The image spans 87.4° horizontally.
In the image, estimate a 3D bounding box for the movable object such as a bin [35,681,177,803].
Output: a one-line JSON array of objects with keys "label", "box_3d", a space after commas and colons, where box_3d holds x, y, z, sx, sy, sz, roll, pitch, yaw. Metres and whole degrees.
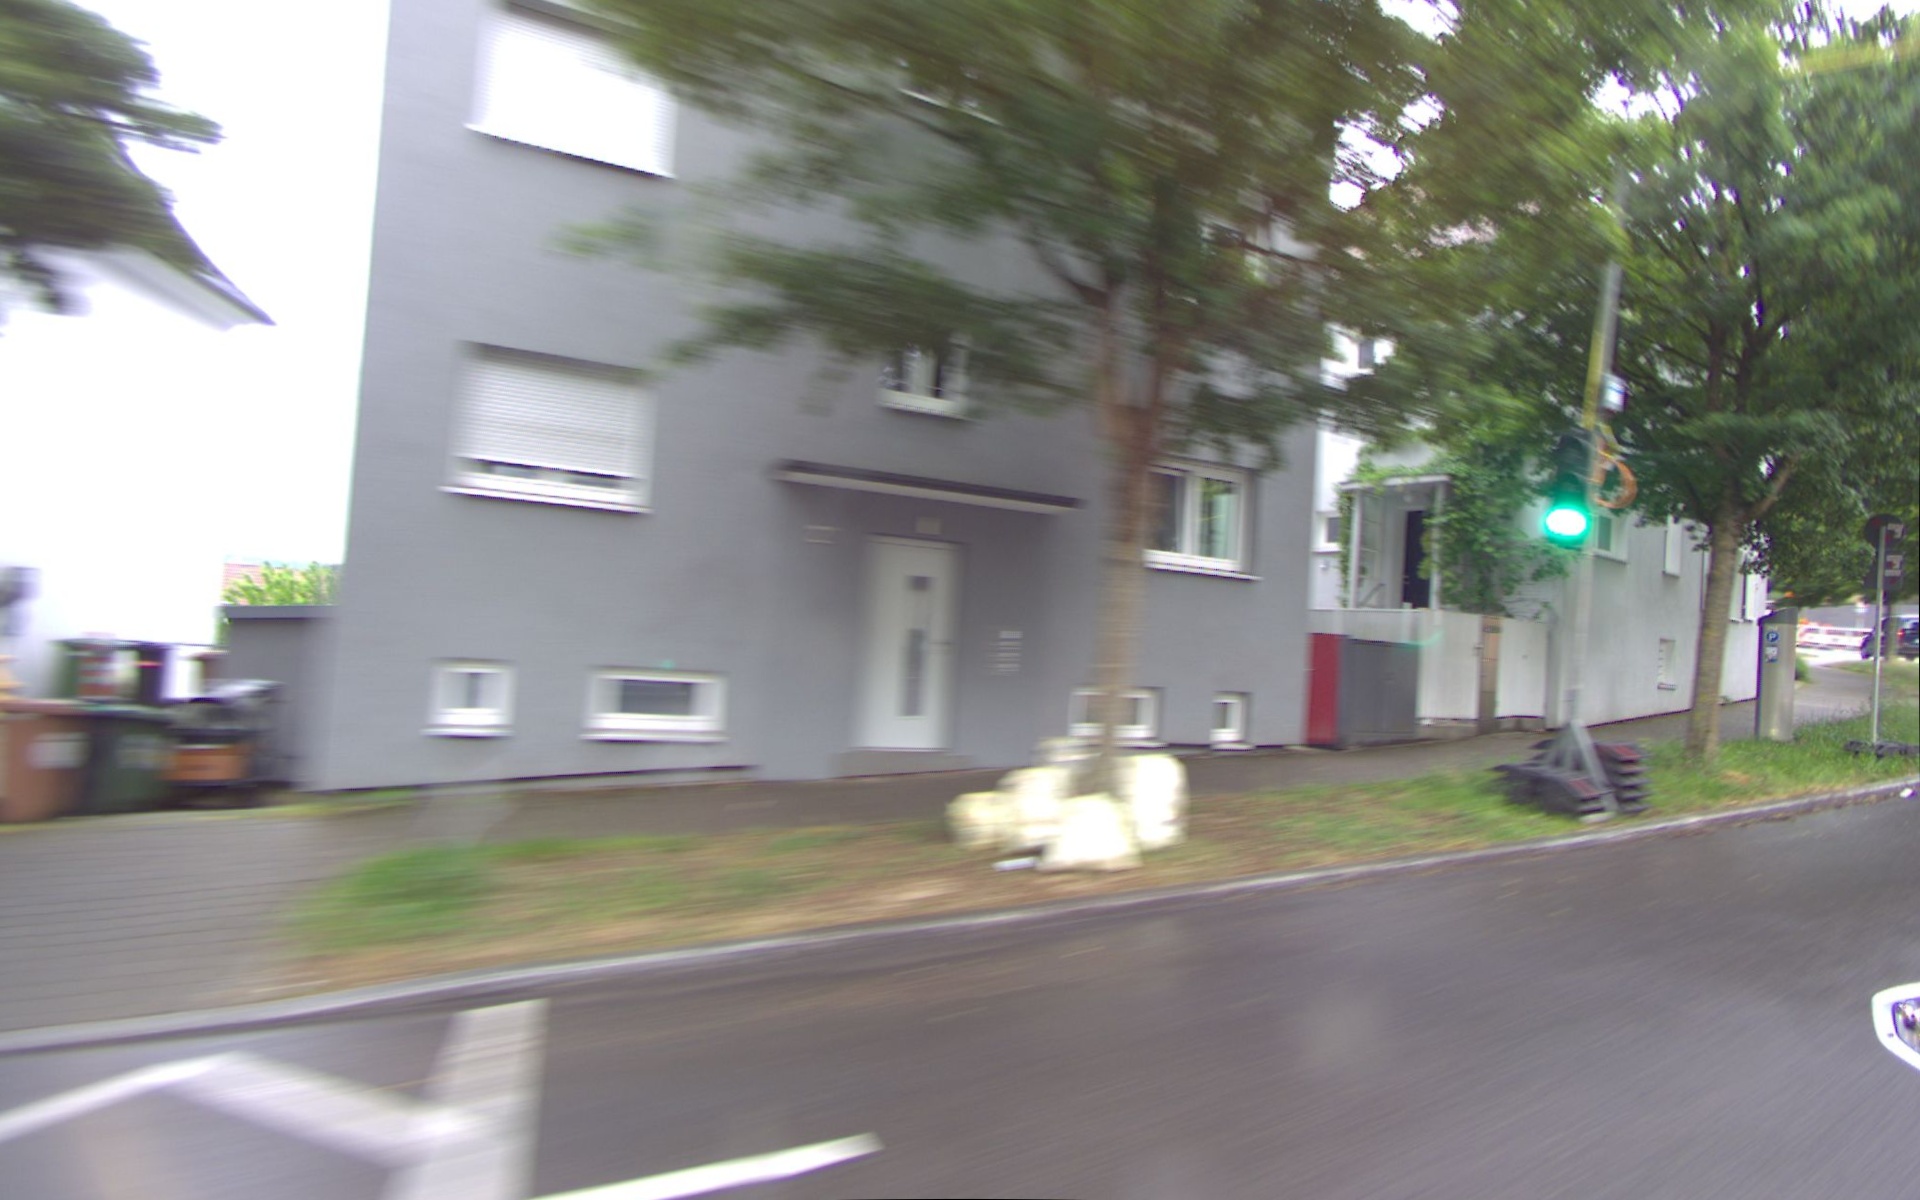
[{"label": "movable object such as a bin", "box_3d": [-7.240, 1.188, 8.549, 0.631, 0.963, 0.657, 0, -2, -4]}]

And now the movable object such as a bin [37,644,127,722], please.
[{"label": "movable object such as a bin", "box_3d": [-11.267, 1.046, 12.914, 0.647, 0.963, 0.641, 1, -2, -18]}]

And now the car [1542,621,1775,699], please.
[{"label": "car", "box_3d": [15.446, 1.290, 22.378, 1.735, 1.581, 3.956, 2, -3, -39]}]

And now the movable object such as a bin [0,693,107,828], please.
[{"label": "movable object such as a bin", "box_3d": [-7.203, 1.217, 7.765, 0.631, 0.963, 0.657, 0, -2, -4]}]

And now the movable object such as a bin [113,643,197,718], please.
[{"label": "movable object such as a bin", "box_3d": [-10.741, 1.057, 13.425, 0.647, 0.963, 0.680, 1, -2, -18]}]

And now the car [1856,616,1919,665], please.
[{"label": "car", "box_3d": [36.590, 1.584, 38.893, 1.964, 1.817, 3.994, -2, -3, 29]}]

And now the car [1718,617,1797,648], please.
[{"label": "car", "box_3d": [41.264, 1.719, 52.053, 1.691, 1.505, 4.079, -1, -3, 15]}]

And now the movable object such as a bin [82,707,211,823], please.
[{"label": "movable object such as a bin", "box_3d": [-7.431, 1.490, 9.199, 0.631, 0.963, 0.657, 0, -2, -4]}]

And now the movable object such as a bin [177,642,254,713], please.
[{"label": "movable object such as a bin", "box_3d": [-10.532, 1.079, 14.233, 0.647, 0.963, 0.712, 1, -2, -18]}]
